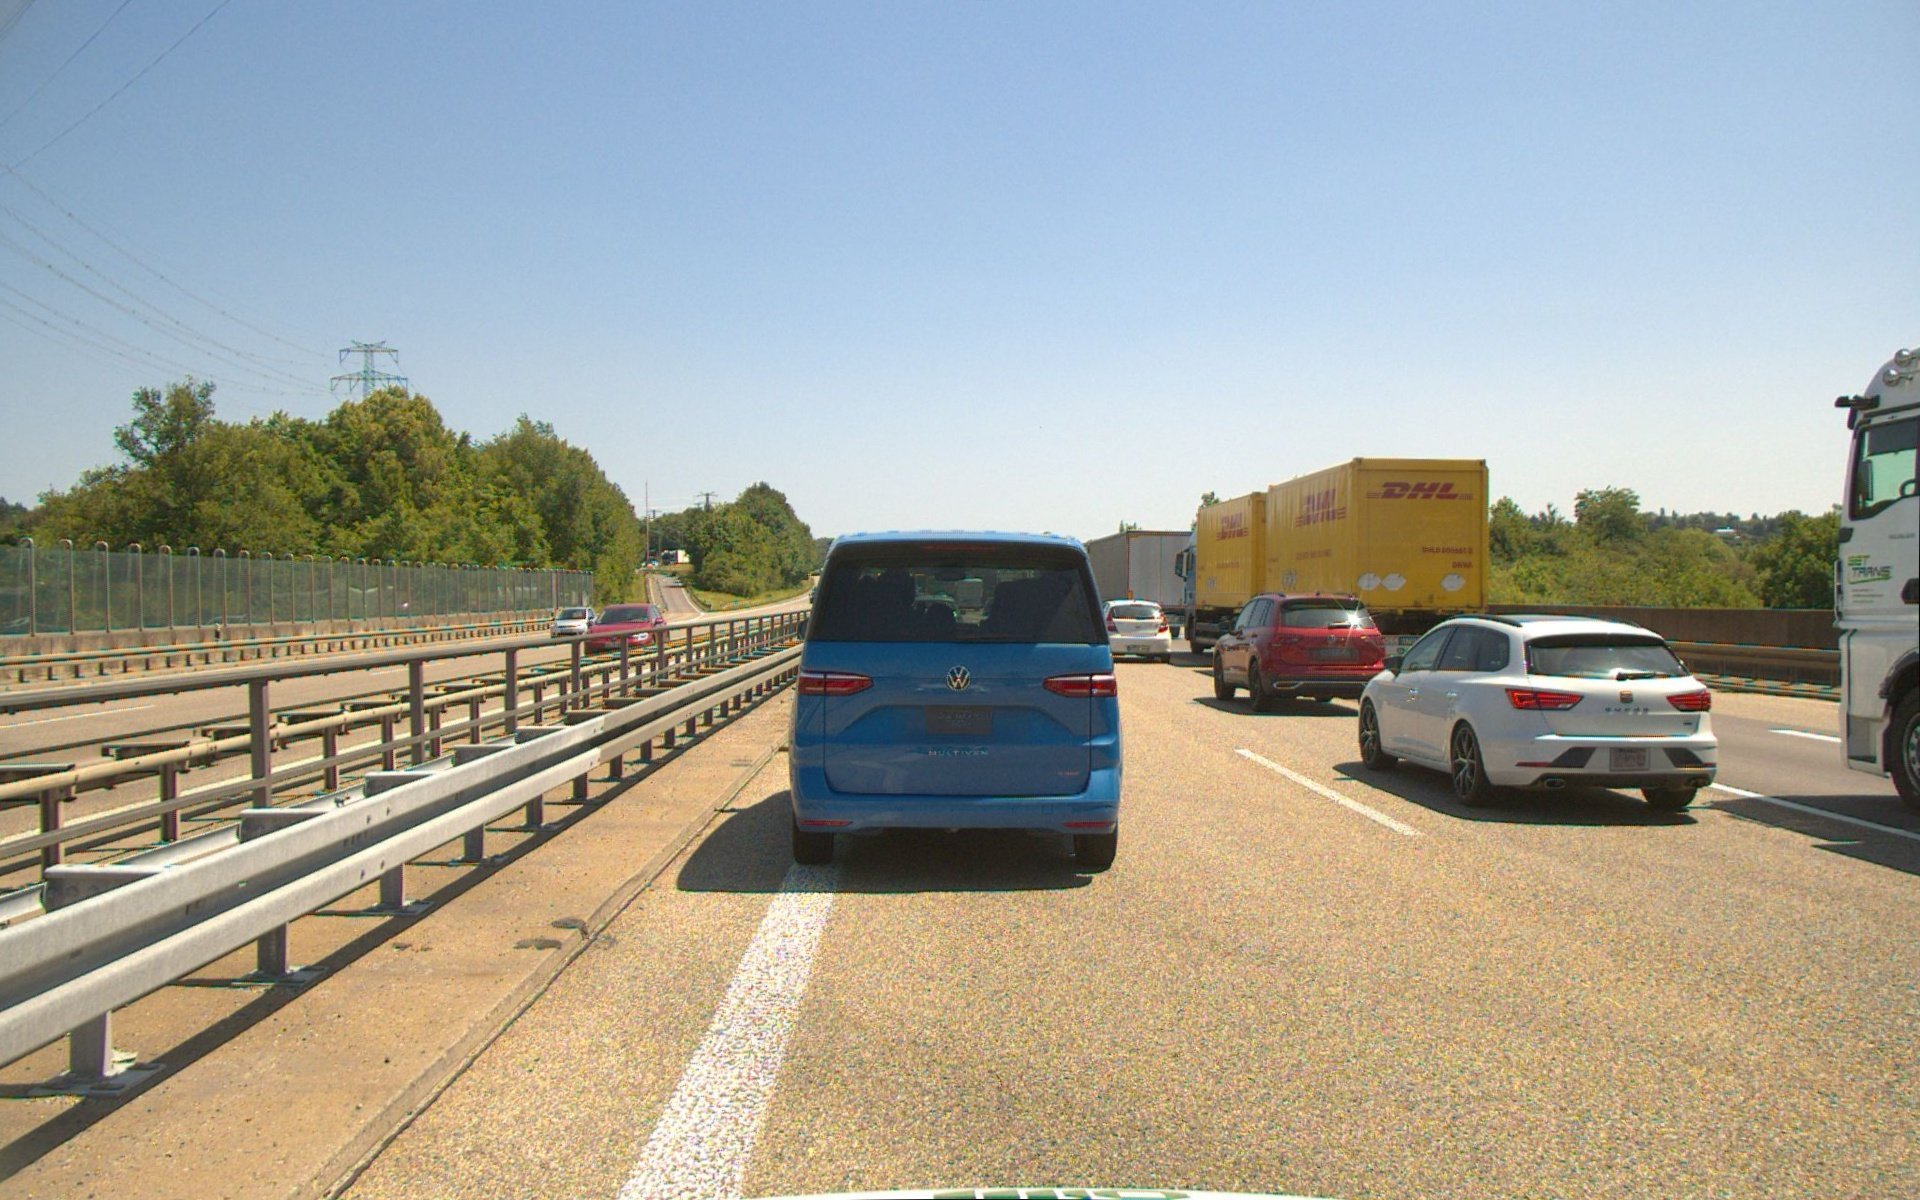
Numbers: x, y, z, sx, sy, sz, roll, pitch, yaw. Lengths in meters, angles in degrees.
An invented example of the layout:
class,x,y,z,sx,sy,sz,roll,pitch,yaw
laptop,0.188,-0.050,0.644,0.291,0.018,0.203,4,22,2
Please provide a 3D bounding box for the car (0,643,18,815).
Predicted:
class,x,y,z,sx,sy,sz,roll,pitch,yaw
car,-8.390,1.029,10.943,1.858,1.338,4.371,-1,0,-1

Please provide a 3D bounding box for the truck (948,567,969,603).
class,x,y,z,sx,sy,sz,roll,pitch,yaw
truck,-0.297,-2.393,264.562,2.777,5.467,12.548,1,-1,-3

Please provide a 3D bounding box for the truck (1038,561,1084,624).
class,x,y,z,sx,sy,sz,roll,pitch,yaw
truck,6.303,-0.420,103.786,2.320,3.787,6.031,1,-1,-2

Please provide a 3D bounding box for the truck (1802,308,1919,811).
class,x,y,z,sx,sy,sz,roll,pitch,yaw
truck,8.485,-0.304,8.271,2.793,3.666,10.765,1,0,-2

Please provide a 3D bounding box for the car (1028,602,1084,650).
class,x,y,z,sx,sy,sz,roll,pitch,yaw
car,3.341,0.921,58.179,1.680,1.615,3.820,0,-1,-1

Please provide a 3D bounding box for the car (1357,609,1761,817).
class,x,y,z,sx,sy,sz,roll,pitch,yaw
car,4.671,0.799,13.596,1.745,1.411,4.187,0,0,-1

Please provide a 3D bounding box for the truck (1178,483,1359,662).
class,x,y,z,sx,sy,sz,roll,pitch,yaw
truck,7.878,-0.599,43.763,2.667,4.125,10.333,1,-1,-1

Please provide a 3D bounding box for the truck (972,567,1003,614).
class,x,y,z,sx,sy,sz,roll,pitch,yaw
truck,3.170,-1.000,190.697,2.777,5.128,11.810,1,-1,-3

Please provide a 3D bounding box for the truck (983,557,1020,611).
class,x,y,z,sx,sy,sz,roll,pitch,yaw
truck,4.079,-1.511,164.911,2.777,5.128,11.140,1,-1,-3

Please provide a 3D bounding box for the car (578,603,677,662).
class,x,y,z,sx,sy,sz,roll,pitch,yaw
car,-8.790,0.837,44.030,1.805,1.472,4.417,1,-1,-1

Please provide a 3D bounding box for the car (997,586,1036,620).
class,x,y,z,sx,sy,sz,roll,pitch,yaw
car,2.767,0.135,81.605,1.680,1.567,3.820,-1,0,-1

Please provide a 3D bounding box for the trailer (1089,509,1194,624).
class,x,y,z,sx,sy,sz,roll,pitch,yaw
trailer,7.177,-1.204,67.016,2.699,4.219,11.308,1,-1,-1

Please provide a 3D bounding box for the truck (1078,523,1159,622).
class,x,y,z,sx,sy,sz,roll,pitch,yaw
truck,7.014,-1.132,74.071,2.712,4.167,6.982,1,-1,-1

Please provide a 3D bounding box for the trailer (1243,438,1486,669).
class,x,y,z,sx,sy,sz,roll,pitch,yaw
trailer,8.022,-0.797,34.113,2.646,4.094,8.928,1,-1,-1

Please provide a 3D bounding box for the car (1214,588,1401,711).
class,x,y,z,sx,sy,sz,roll,pitch,yaw
car,4.947,0.659,24.093,1.813,1.636,3.999,0,0,-1

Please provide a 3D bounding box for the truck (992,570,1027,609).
class,x,y,z,sx,sy,sz,roll,pitch,yaw
truck,4.338,-0.842,146.959,2.308,3.275,9.735,1,-1,-3

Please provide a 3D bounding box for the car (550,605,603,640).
class,x,y,z,sx,sy,sz,roll,pitch,yaw
car,-17.209,1.001,74.331,1.572,1.418,3.676,-2,0,-1

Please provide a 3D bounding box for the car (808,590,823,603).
class,x,y,z,sx,sy,sz,roll,pitch,yaw
car,-19.854,-0.478,227.865,1.744,1.596,4.385,-2,0,-1

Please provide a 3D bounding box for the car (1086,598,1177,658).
class,x,y,z,sx,sy,sz,roll,pitch,yaw
car,4.257,0.678,41.534,1.801,1.438,3.999,0,0,-1

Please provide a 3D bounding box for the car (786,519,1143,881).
class,x,y,z,sx,sy,sz,roll,pitch,yaw
car,-0.007,0.522,10.576,1.844,1.869,3.999,0,0,-1

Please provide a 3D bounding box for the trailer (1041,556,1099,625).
class,x,y,z,sx,sy,sz,roll,pitch,yaw
trailer,6.449,-0.466,98.052,2.331,3.810,11.184,1,-1,-2
